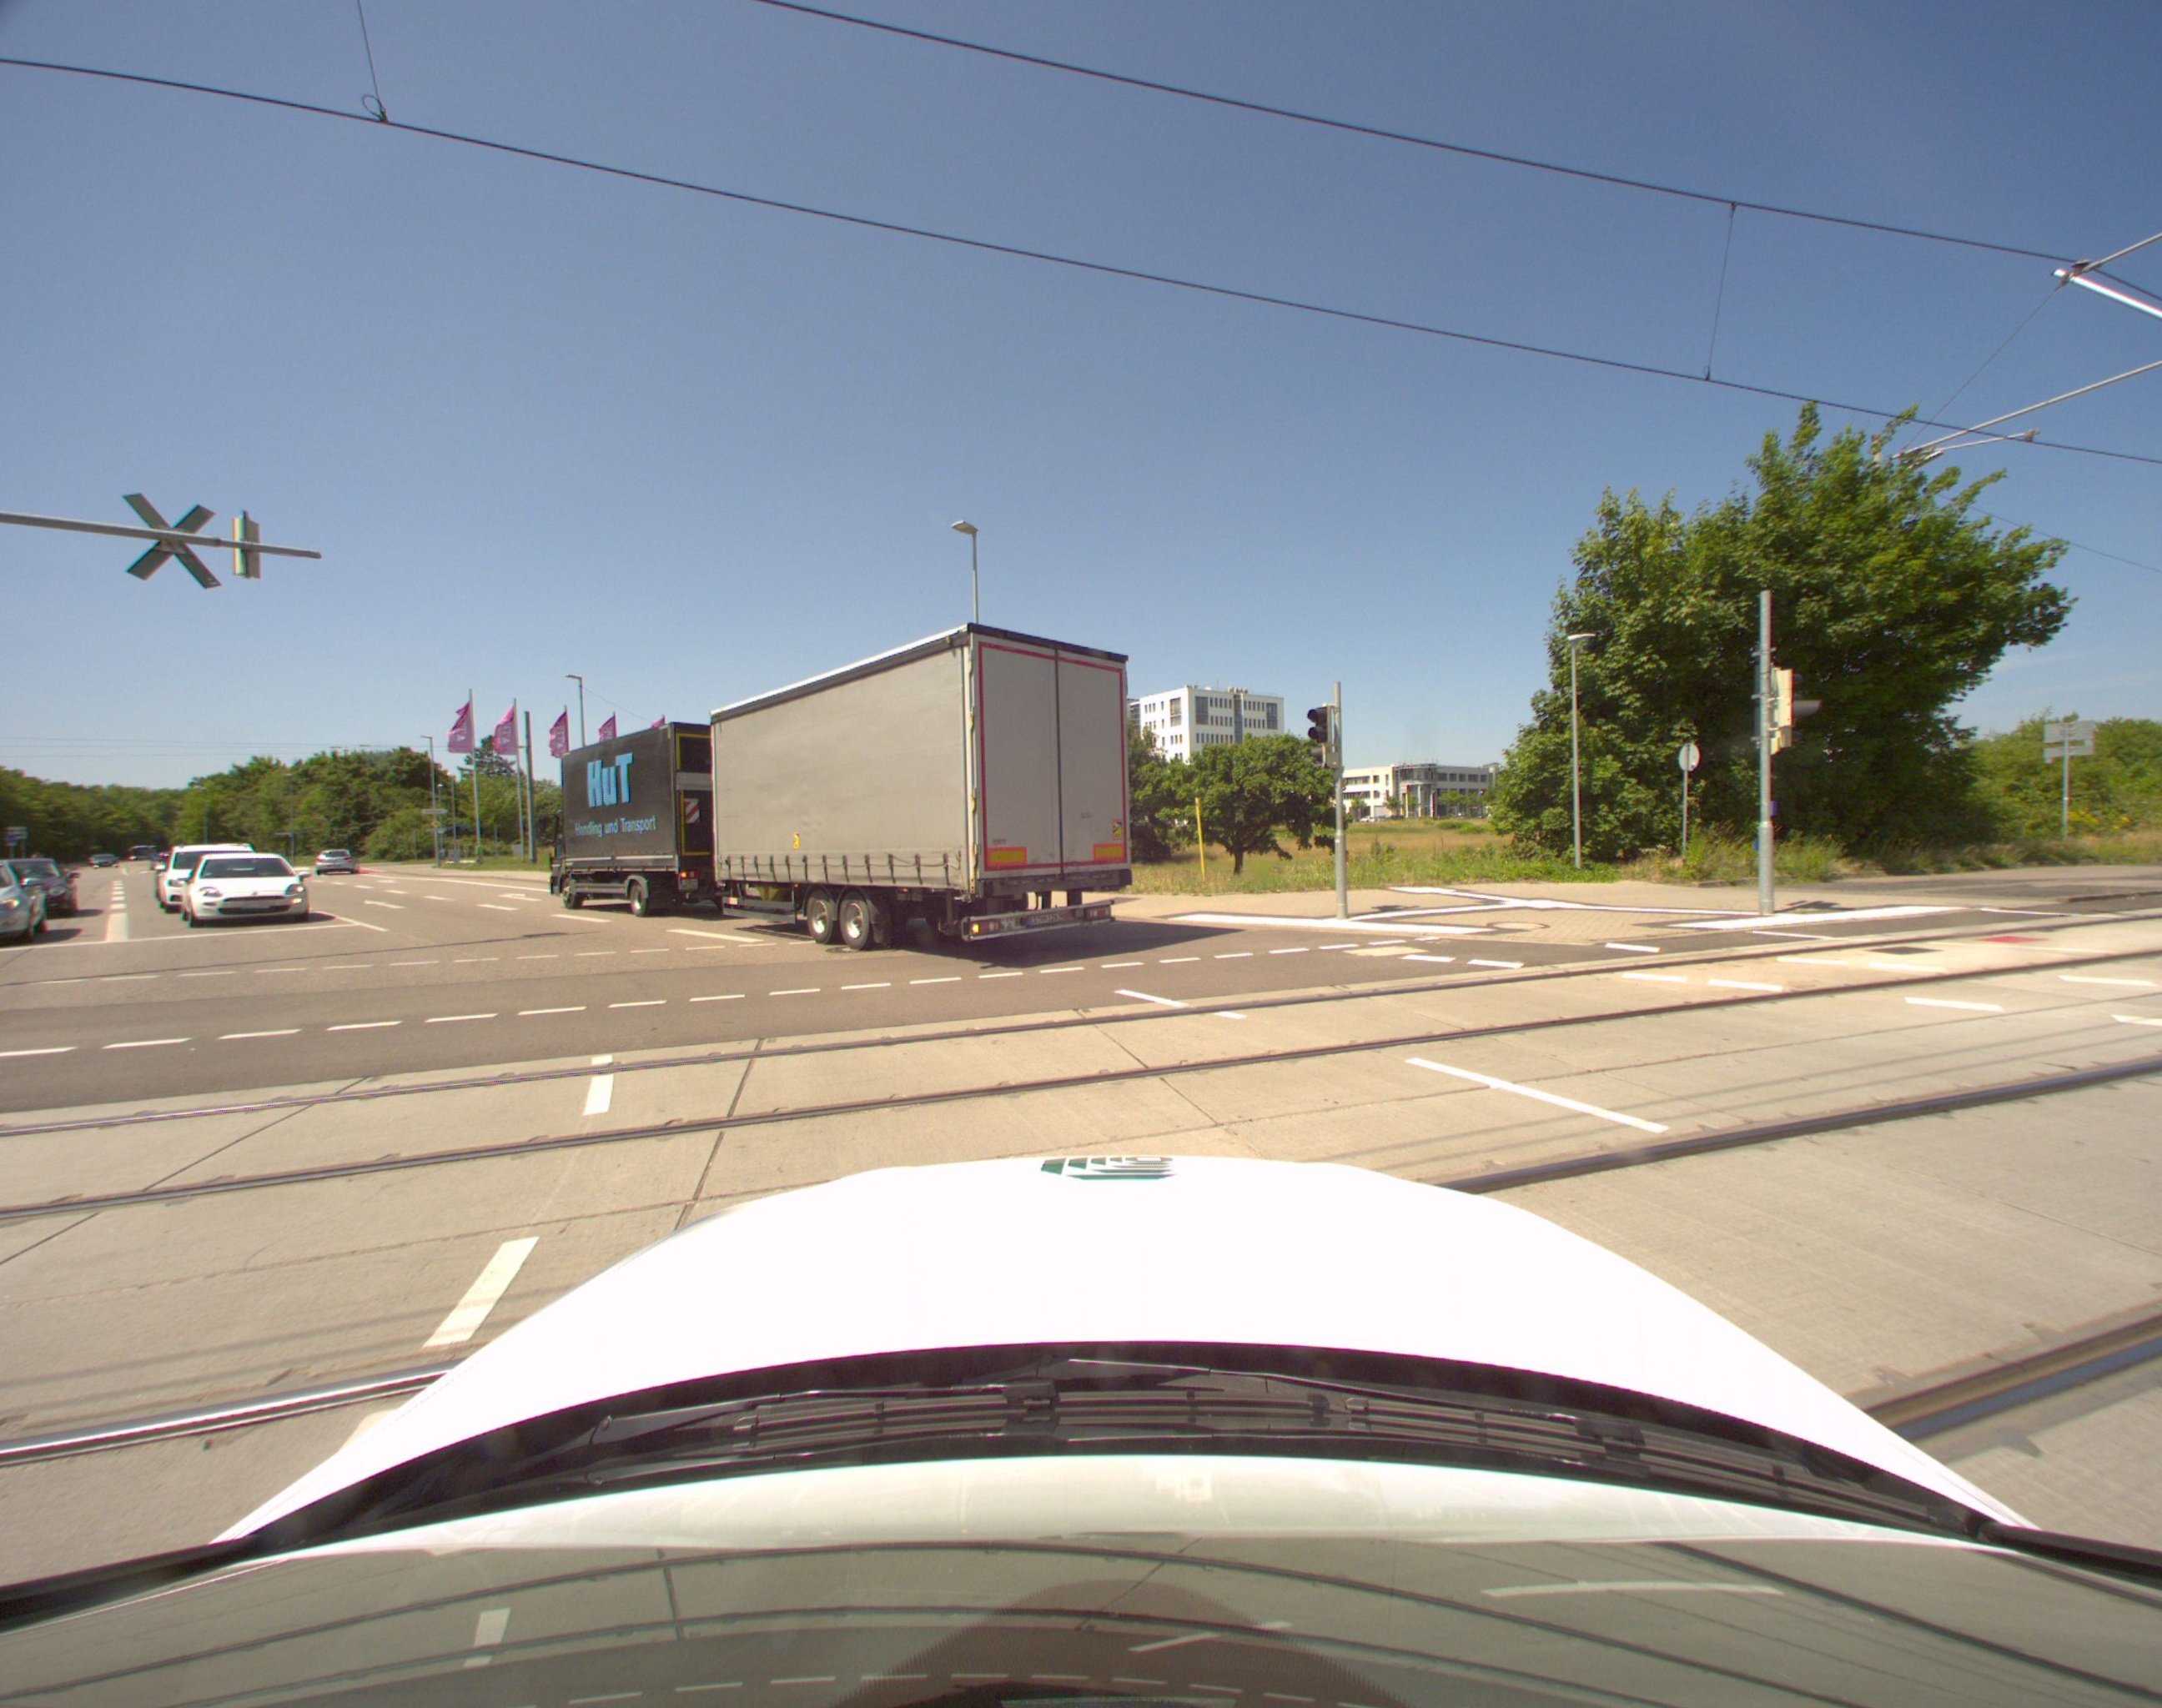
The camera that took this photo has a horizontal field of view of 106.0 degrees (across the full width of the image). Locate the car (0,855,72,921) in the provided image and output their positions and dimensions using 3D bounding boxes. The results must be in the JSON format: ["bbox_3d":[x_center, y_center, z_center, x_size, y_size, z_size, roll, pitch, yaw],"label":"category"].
[{"bbox_3d":[-26.083,0.783,19.846,4.230,1.456,1.777,0,2,39],"label":"car"}]

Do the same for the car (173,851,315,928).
[{"bbox_3d":[-18.048,0.676,17.521,3.910,1.437,1.785,0,1,39],"label":"car"}]

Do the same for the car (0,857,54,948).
[{"bbox_3d":[-19.777,0.843,14.359,4.356,1.455,1.808,0,3,41],"label":"car"}]

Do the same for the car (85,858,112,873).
[{"bbox_3d":[-102.295,1.196,84.800,3.456,1.455,1.638,0,3,40],"label":"car"}]

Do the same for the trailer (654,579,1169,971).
[{"bbox_3d":[-3.416,-0.864,12.983,9.687,4.069,3.106,0,2,45],"label":"trailer"}]

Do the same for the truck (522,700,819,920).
[{"bbox_3d":[-9.689,-0.860,18.770,7.856,4.069,3.107,0,1,39],"label":"truck"}]

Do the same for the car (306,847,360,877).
[{"bbox_3d":[-45.798,0.446,49.915,1.852,1.632,3.957,-3,2,-35],"label":"car"}]

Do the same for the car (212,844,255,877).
[{"bbox_3d":[-52.173,0.367,50.108,3.949,1.906,1.671,0,2,42],"label":"car"}]

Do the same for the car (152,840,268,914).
[{"bbox_3d":[-23.232,0.522,21.661,4.769,1.723,1.829,0,2,40],"label":"car"}]
